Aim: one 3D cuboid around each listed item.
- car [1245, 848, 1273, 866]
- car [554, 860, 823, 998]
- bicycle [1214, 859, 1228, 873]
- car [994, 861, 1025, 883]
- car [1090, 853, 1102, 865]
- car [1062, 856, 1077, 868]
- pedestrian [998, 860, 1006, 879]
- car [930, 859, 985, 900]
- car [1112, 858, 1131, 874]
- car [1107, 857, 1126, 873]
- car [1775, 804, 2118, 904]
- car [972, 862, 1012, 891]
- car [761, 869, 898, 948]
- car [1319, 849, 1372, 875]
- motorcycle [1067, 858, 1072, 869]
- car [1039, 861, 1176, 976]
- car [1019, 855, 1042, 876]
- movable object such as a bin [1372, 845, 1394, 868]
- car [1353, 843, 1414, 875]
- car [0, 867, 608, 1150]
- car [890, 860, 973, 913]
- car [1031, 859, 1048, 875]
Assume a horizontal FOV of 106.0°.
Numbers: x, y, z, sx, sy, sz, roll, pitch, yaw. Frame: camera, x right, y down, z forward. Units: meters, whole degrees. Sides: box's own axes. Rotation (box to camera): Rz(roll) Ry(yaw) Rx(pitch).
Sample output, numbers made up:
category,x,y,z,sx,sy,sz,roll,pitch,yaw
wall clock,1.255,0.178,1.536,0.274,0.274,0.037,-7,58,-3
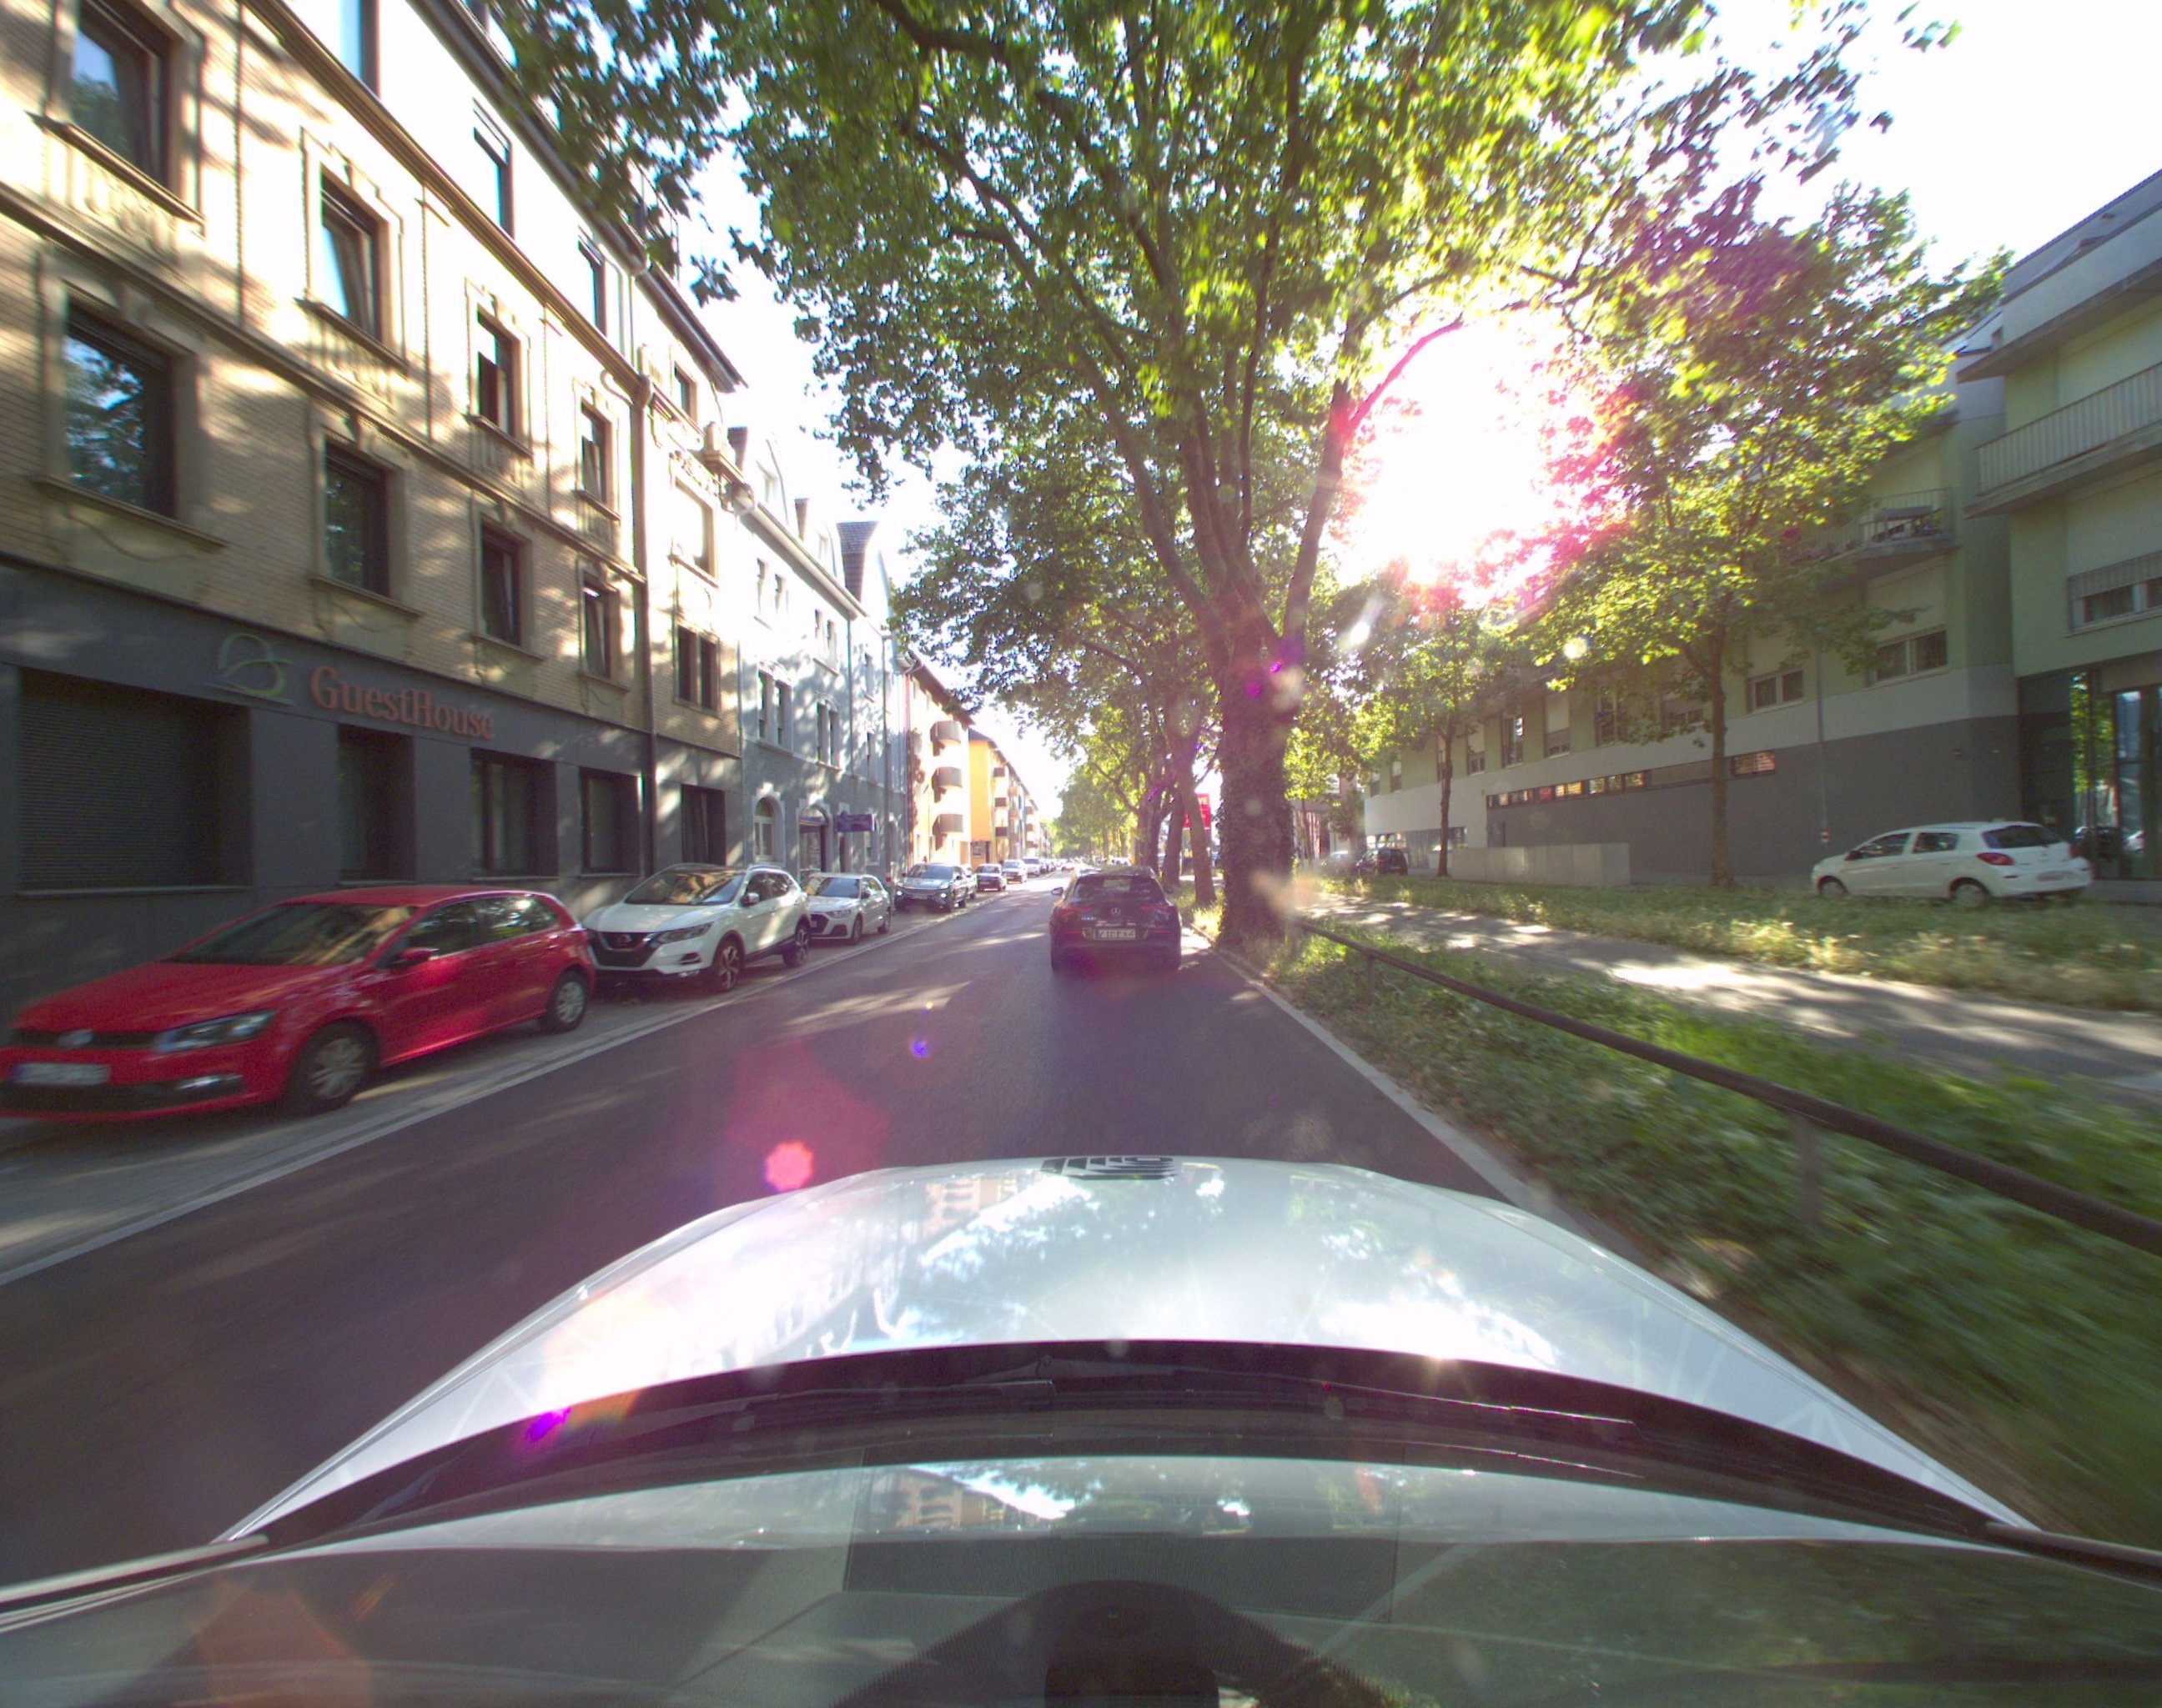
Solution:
category,x,y,z,sx,sy,sz,roll,pitch,yaw
car,18.513,0.345,84.667,1.979,1.733,4.181,-2,0,1
car,-5.234,0.894,11.583,1.671,1.585,4.201,0,0,2
bicycle,10.346,0.920,60.165,0.383,1.003,1.478,-2,0,-16
car,-4.987,1.232,57.375,1.671,1.524,4.022,0,0,2
car,2.839,0.986,154.733,1.989,2.014,3.994,-1,-2,-4
car,-1.559,1.003,109.394,1.765,1.478,4.322,-3,0,1
pedestrian,-7.625,1.502,78.367,0.585,1.790,0.642,-2,-1,1
car,-5.348,1.067,35.624,1.671,1.641,3.986,0,0,2
car,4.036,1.170,81.792,1.630,1.468,4.018,-3,-1,-1
car,3.853,1.191,88.622,1.804,1.539,4.583,-5,-1,1
car,15.788,0.015,15.282,1.852,1.543,4.320,-2,0,1
car,-4.805,1.207,44.234,1.671,1.486,3.602,0,0,2
car,-5.336,1.095,17.798,1.671,1.496,3.873,0,0,2
car,16.277,0.468,50.329,1.854,1.468,4.121,-2,0,-1
motorcycle,-1.376,1.151,96.725,0.545,1.241,2.264,-4,-1,0
car,0.467,0.844,12.375,1.737,1.443,3.973,0,0,4
car,-4.762,1.108,77.694,1.727,1.907,5.211,-1,0,2
movable object such as a bin,20.719,0.164,55.917,1.185,1.463,1.412,-2,0,12
car,16.120,0.250,43.566,1.853,1.552,3.760,-2,0,1
car,-5.823,0.928,6.617,1.671,1.592,3.758,0,0,2
car,-5.092,1.057,28.323,1.901,1.641,4.579,0,0,2
car,-4.597,1.404,90.489,1.740,1.787,4.546,0,0,-1
